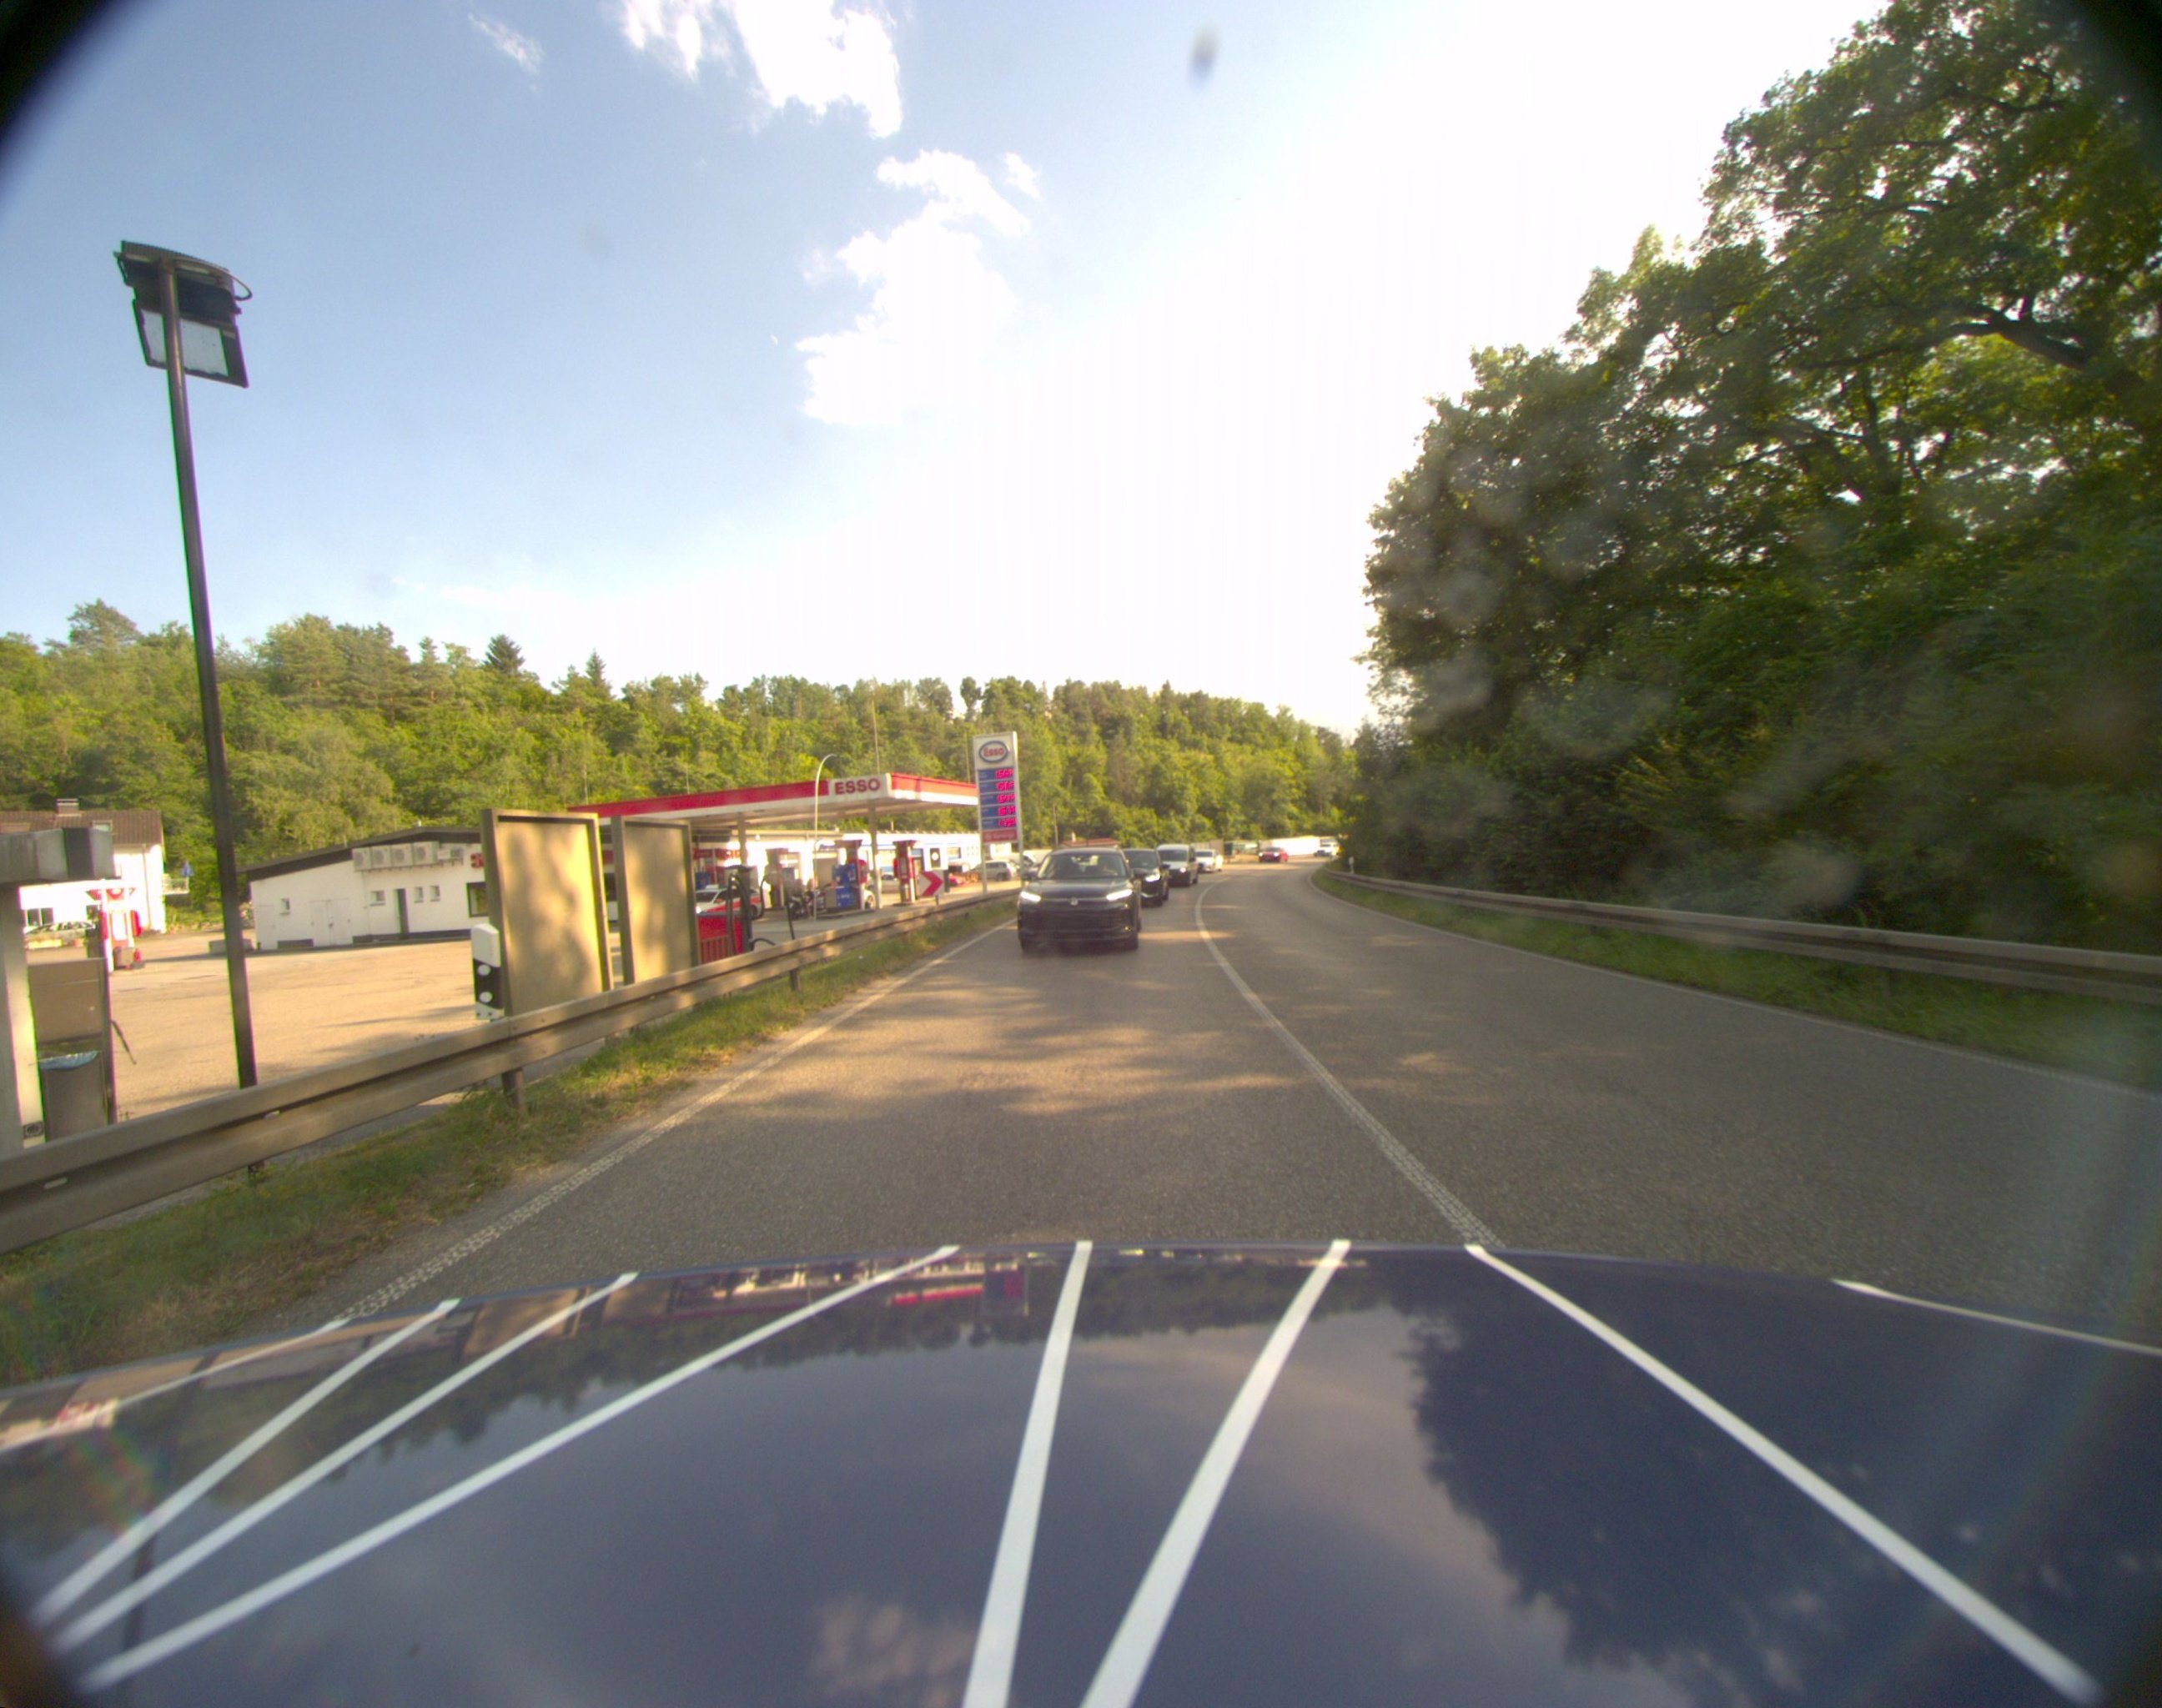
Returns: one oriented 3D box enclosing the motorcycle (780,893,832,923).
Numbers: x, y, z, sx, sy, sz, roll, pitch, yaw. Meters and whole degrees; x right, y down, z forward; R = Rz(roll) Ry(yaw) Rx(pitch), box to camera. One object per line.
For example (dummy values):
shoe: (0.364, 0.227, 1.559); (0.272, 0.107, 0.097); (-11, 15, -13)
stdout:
motorcycle: (-11.268, 2.201, 31.190); (0.763, 1.006, 2.343); (-3, 0, 14)

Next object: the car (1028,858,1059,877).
car: (-3.346, 1.185, 68.404); (1.793, 1.587, 3.991); (-1, 1, 11)

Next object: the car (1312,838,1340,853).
car: (27.388, -0.980, 84.975); (1.912, 1.457, 4.544); (-4, 0, 31)

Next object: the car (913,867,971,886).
car: (-11.044, 1.808, 60.510); (4.072, 1.340, 1.897); (-1, 1, 15)

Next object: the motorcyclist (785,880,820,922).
motorcyclist: (-11.354, 1.901, 30.954); (0.859, 1.595, 0.928); (-3, 1, 14)

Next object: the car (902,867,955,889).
car: (-11.712, 1.834, 58.484); (3.549, 1.437, 1.735); (-3, 1, 15)

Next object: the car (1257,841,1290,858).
car: (17.483, -0.412, 68.861); (1.856, 1.412, 4.426); (-2, 1, 27)

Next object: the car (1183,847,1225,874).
car: (7.877, 0.372, 48.193); (1.894, 1.437, 4.481); (-4, 0, 18)

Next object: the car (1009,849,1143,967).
car: (0.091, 0.773, 13.136); (1.859, 1.630, 4.442); (-2, 0, 4)

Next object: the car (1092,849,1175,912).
car: (1.623, 0.700, 22.090); (1.847, 1.561, 4.260); (-2, 1, 11)

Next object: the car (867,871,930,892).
car: (-12.909, 1.948, 53.837); (3.963, 1.347, 1.778); (-2, 1, 11)

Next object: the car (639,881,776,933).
car: (-15.082, 2.075, 31.081); (2.095, 1.618, 5.185); (-3, 0, 14)

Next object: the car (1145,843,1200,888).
car: (4.061, 0.422, 33.079); (1.866, 1.711, 4.766); (-1, 2, 12)

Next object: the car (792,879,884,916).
car: (-10.990, 1.932, 34.731); (1.845, 1.311, 4.394); (-3, 0, 15)

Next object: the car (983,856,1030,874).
car: (-7.519, 1.112, 76.465); (4.246, 1.601, 1.896); (-2, 1, 15)

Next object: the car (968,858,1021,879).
car: (-7.737, 1.278, 67.896); (4.254, 1.719, 1.893); (-1, 1, 12)

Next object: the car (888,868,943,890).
car: (-12.272, 1.881, 56.326); (3.555, 1.398, 1.692); (-3, 1, 15)

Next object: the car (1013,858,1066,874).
car: (-3.982, 1.190, 73.513); (4.727, 1.426, 1.959); (-1, 1, 13)

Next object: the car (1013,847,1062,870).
car: (-4.838, 0.521, 84.628); (4.915, 2.435, 2.209); (-2, 1, 13)

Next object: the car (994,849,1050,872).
car: (-6.305, 0.688, 81.069); (5.481, 2.261, 2.297); (-1, 1, 15)

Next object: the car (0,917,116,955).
car: (-65.105, 5.152, 47.847); (2.694, 1.826, 5.175); (-4, 0, 41)
